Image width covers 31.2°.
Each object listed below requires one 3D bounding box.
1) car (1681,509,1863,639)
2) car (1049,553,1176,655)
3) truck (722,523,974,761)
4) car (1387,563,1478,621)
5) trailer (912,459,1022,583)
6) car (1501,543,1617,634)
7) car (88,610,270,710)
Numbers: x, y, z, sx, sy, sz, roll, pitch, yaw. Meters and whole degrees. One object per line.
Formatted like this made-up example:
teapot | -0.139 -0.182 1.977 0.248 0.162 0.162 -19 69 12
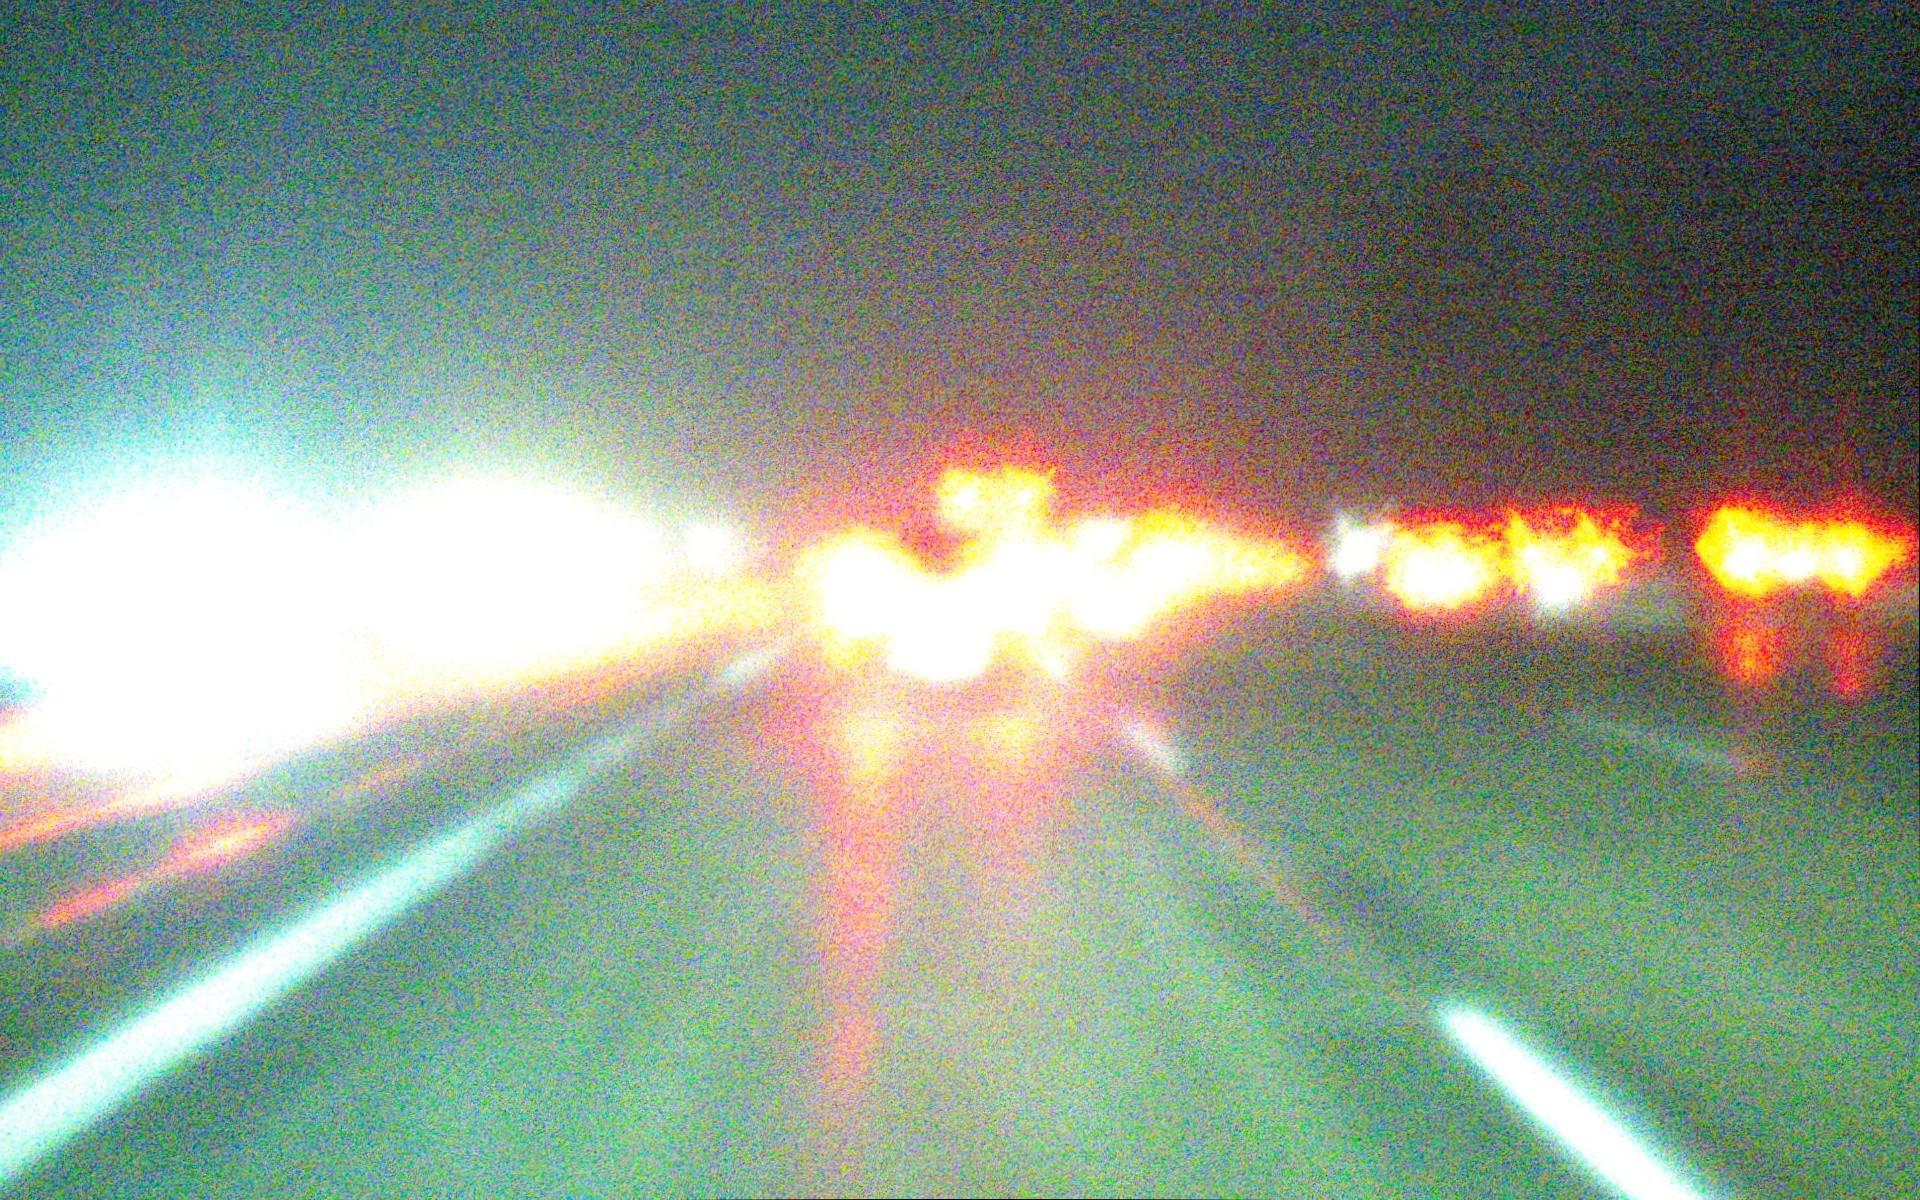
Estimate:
car | 13.066 -0.450 55.635 2.063 2.007 5.448 0 1 4
car | 2.582 0.057 59.079 1.800 1.612 4.257 -2 0 -2
truck | -0.989 0.355 34.070 2.145 2.070 6.603 1 0 1
car | 13.850 -0.245 100.946 1.993 1.595 4.000 1 0 -1
trailer | 0.160 -3.295 138.522 2.738 4.232 13.376 5 3 -6
car | 13.534 -0.284 77.892 2.233 2.007 4.000 0 1 5
car | -13.161 0.980 58.204 1.993 1.520 4.670 1 0 0
